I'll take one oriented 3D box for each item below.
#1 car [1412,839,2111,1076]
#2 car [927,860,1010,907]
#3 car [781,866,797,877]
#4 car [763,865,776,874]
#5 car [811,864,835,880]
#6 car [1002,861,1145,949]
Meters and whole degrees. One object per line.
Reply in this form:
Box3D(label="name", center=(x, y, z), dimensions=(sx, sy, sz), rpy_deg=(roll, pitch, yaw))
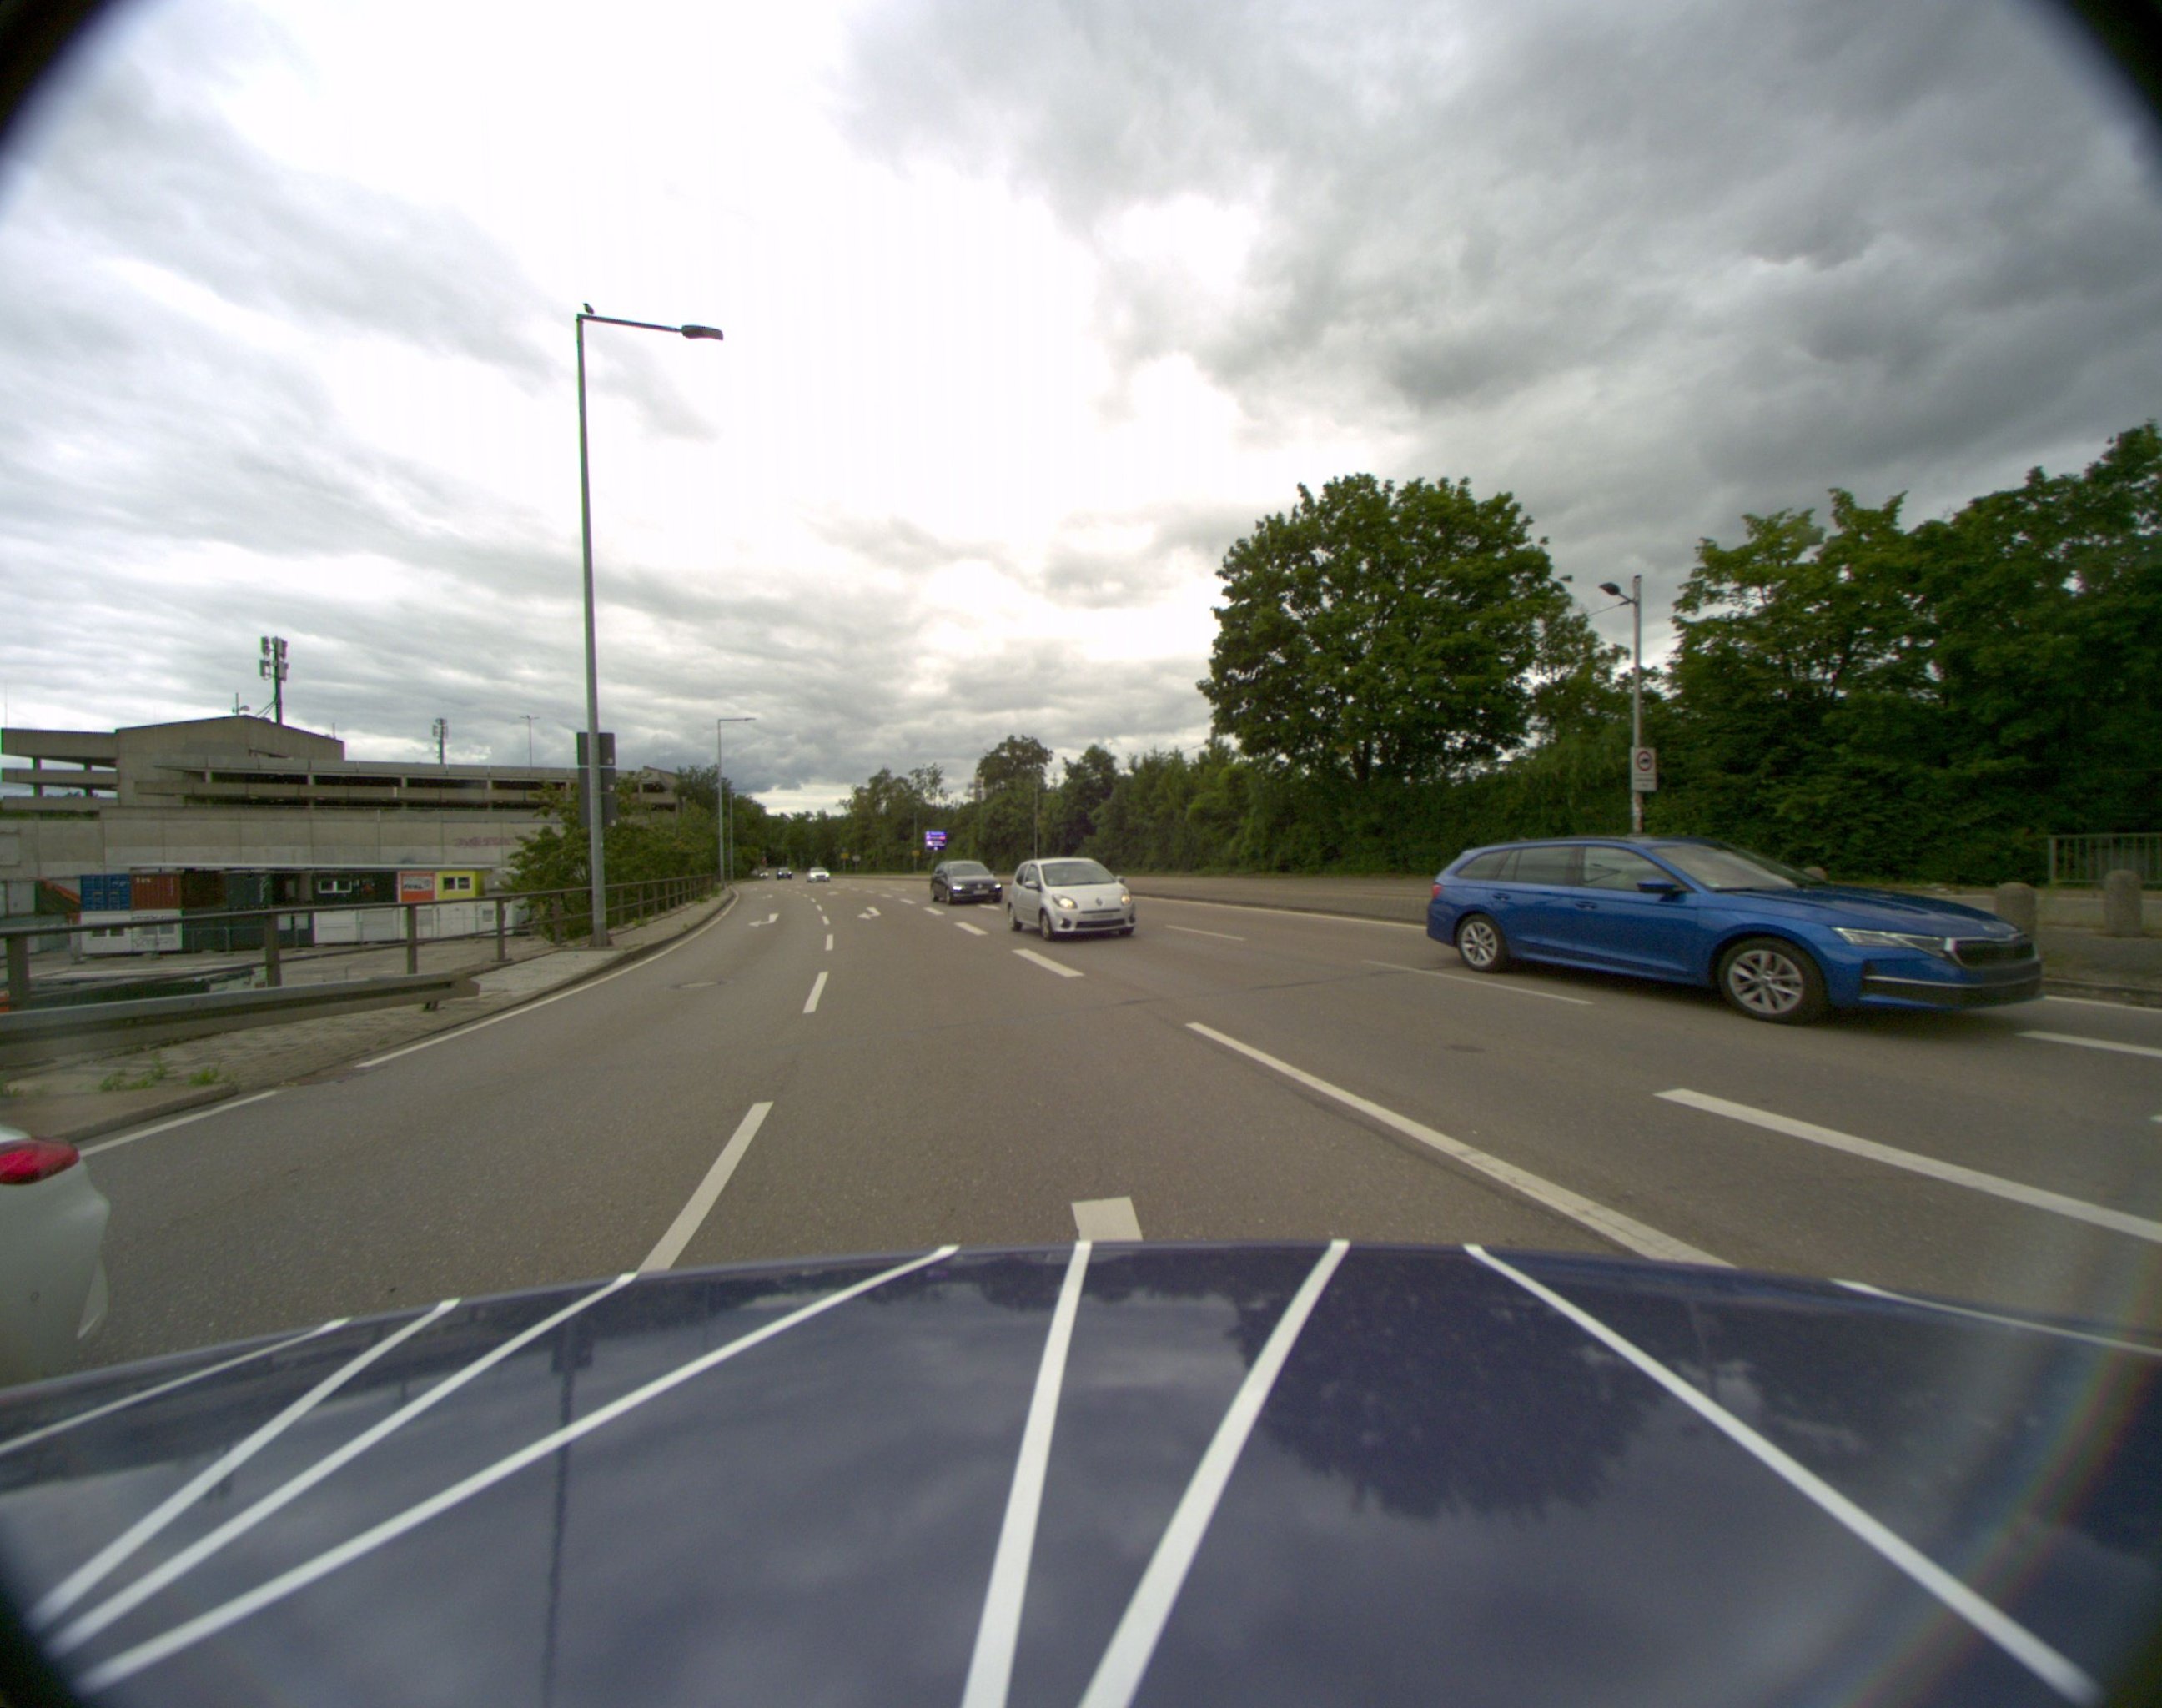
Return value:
Box3D(label="car", center=(5.528, 0.652, 7.140), dimensions=(1.845, 1.408, 4.573), rpy_deg=(-2, 0, -18))
Box3D(label="car", center=(-3.974, 0.954, 26.258), dimensions=(1.868, 1.408, 4.331), rpy_deg=(-2, 0, -21))
Box3D(label="car", center=(-41.995, 2.517, 109.260), dimensions=(1.868, 1.408, 4.330), rpy_deg=(-2, 0, -25))
Box3D(label="car", center=(-68.435, 3.367, 166.987), dimensions=(2.002, 1.696, 3.992), rpy_deg=(-6, 1, -28))
Box3D(label="car", center=(-25.365, 1.719, 74.742), dimensions=(1.868, 1.408, 4.330), rpy_deg=(-2, 0, -23))
Box3D(label="car", center=(-0.280, 0.860, 14.513), dimensions=(1.612, 1.408, 3.585), rpy_deg=(-2, 0, -19))
